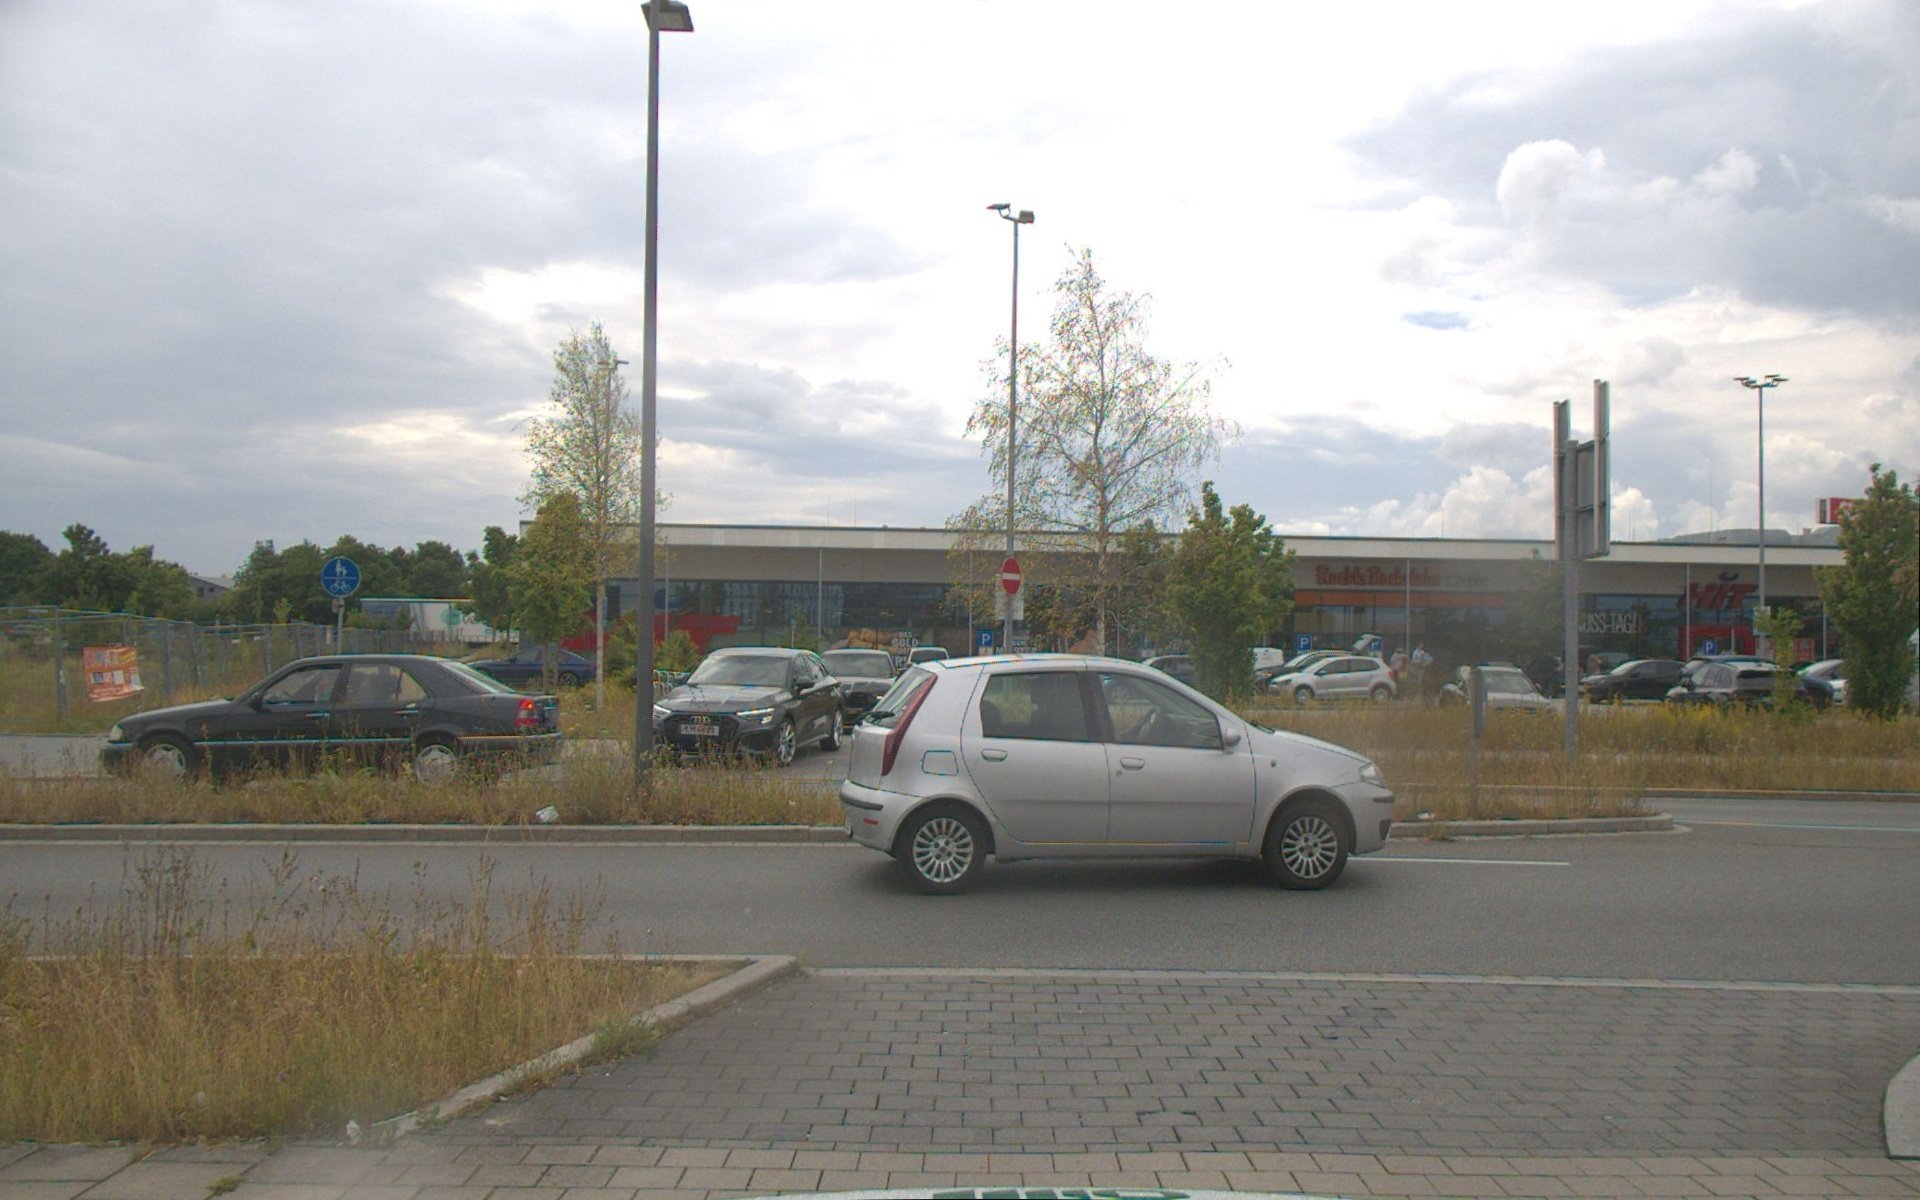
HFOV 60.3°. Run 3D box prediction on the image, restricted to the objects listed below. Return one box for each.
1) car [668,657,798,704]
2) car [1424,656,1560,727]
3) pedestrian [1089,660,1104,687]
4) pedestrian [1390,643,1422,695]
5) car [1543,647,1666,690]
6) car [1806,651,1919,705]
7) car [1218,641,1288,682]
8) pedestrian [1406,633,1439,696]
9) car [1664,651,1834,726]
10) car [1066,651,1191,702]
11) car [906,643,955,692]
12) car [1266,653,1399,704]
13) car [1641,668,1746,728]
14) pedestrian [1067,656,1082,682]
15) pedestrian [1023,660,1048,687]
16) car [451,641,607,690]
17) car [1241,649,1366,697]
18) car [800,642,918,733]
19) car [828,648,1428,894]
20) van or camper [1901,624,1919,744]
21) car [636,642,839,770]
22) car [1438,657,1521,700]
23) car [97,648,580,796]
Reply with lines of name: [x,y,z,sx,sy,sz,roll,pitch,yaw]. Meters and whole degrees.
car: [-7.079,2.520,51.924,3.910,1.376,1.997,1,-2,-6]
car: [11.549,1.964,36.154,1.946,1.409,4.151,1,-2,5]
pedestrian: [5.888,3.166,71.376,0.565,1.144,0.561,1,-2,-7]
pedestrian: [14.463,2.237,53.640,0.804,1.660,0.899,1,-2,2]
car: [24.445,2.590,62.825,3.906,1.534,1.999,1,-1,-2]
car: [29.287,2.448,52.427,3.902,1.646,2.001,0,-2,5]
car: [11.324,2.367,64.237,1.953,1.534,3.999,1,-1,-1]
pedestrian: [15.279,2.117,54.682,0.847,2.049,1.004,1,-2,2]
car: [16.776,1.863,35.387,1.946,1.477,4.151,1,-2,5]
car: [5.073,2.318,50.158,3.536,1.480,1.666,1,-1,-4]
car: [-1.085,2.553,63.012,1.787,1.730,4.233,1,-1,0]
car: [11.401,2.406,50.742,3.672,1.480,1.666,1,-1,-3]
car: [22.484,2.980,50.834,1.776,1.682,4.002,0,-2,5]
pedestrian: [4.982,3.003,72.205,0.565,1.144,0.561,1,-2,-7]
pedestrian: [3.304,3.218,72.627,0.951,1.175,1.132,1,-2,-5]
car: [-14.780,2.258,56.924,4.913,1.585,1.996,1,-2,-7]
car: [11.158,2.372,53.850,3.672,1.480,1.666,1,-1,-3]
car: [-1.699,1.506,29.212,1.743,1.471,4.609,1,-2,1]
car: [1.040,1.083,11.238,3.733,1.487,1.797,1,-2,-9]
van or camper: [21.341,1.763,34.014,2.234,2.536,4.003,1,-2,10]
car: [-2.825,1.323,21.989,1.754,1.492,4.322,1,-1,5]
car: [20.207,3.028,64.503,1.953,1.534,3.999,1,-1,-1]
car: [-6.249,1.238,17.045,4.271,1.420,1.789,1,-3,-4]
